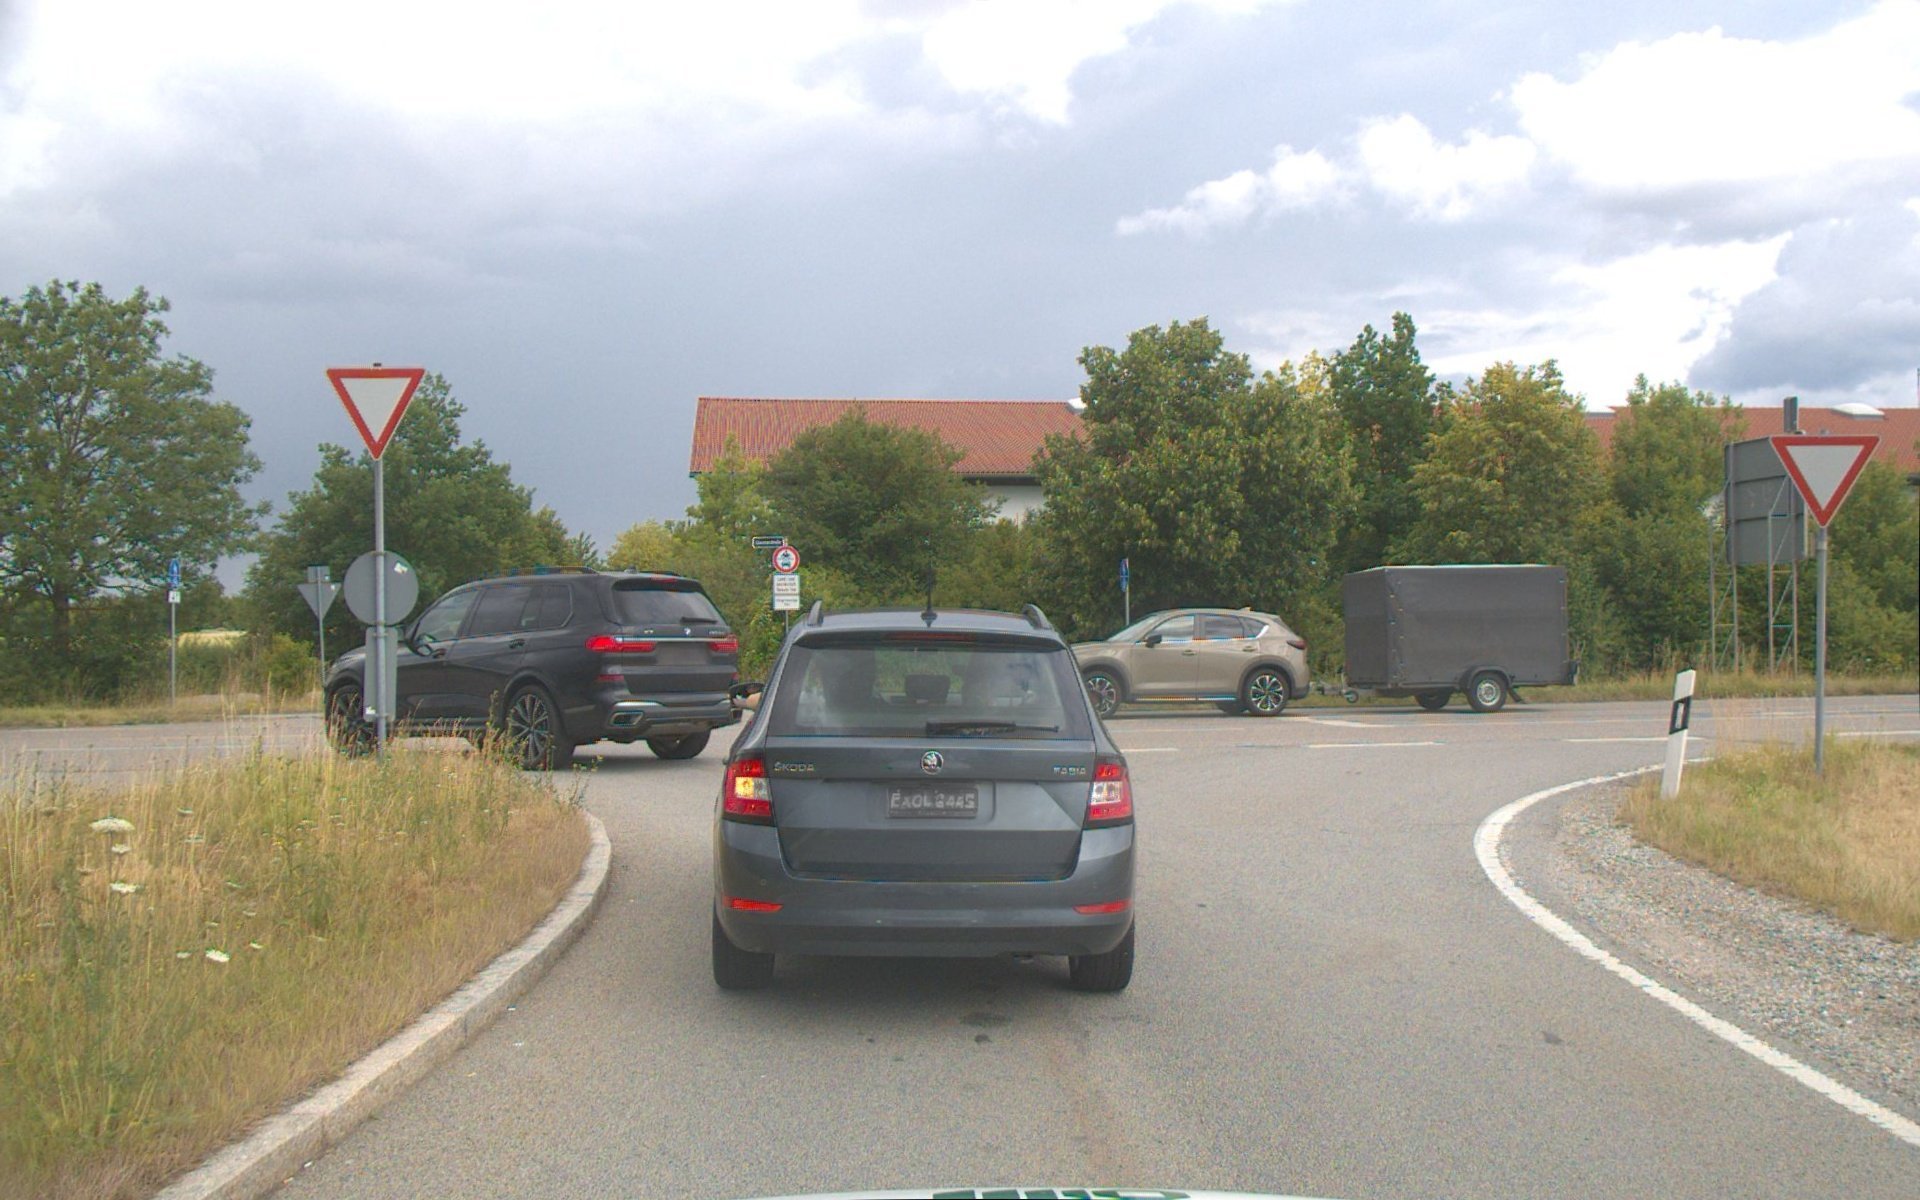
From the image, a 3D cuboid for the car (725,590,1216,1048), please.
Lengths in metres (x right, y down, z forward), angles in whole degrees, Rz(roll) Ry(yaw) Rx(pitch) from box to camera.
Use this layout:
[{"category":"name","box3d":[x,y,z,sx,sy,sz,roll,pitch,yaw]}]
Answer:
[{"category":"car","box3d":[-0.161,0.731,7.345,1.644,1.488,3.702,0,-1,-7]}]

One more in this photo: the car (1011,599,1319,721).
[{"category":"car","box3d":[3.156,0.911,25.894,4.384,1.712,1.994,-1,-1,-11]}]

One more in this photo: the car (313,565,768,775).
[{"category":"car","box3d":[-4.253,0.650,16.451,4.552,1.806,1.992,-1,-1,37]}]

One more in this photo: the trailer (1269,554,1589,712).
[{"category":"trailer","box3d":[7.485,0.520,26.681,4.302,2.333,2.411,-1,-2,-10]}]
